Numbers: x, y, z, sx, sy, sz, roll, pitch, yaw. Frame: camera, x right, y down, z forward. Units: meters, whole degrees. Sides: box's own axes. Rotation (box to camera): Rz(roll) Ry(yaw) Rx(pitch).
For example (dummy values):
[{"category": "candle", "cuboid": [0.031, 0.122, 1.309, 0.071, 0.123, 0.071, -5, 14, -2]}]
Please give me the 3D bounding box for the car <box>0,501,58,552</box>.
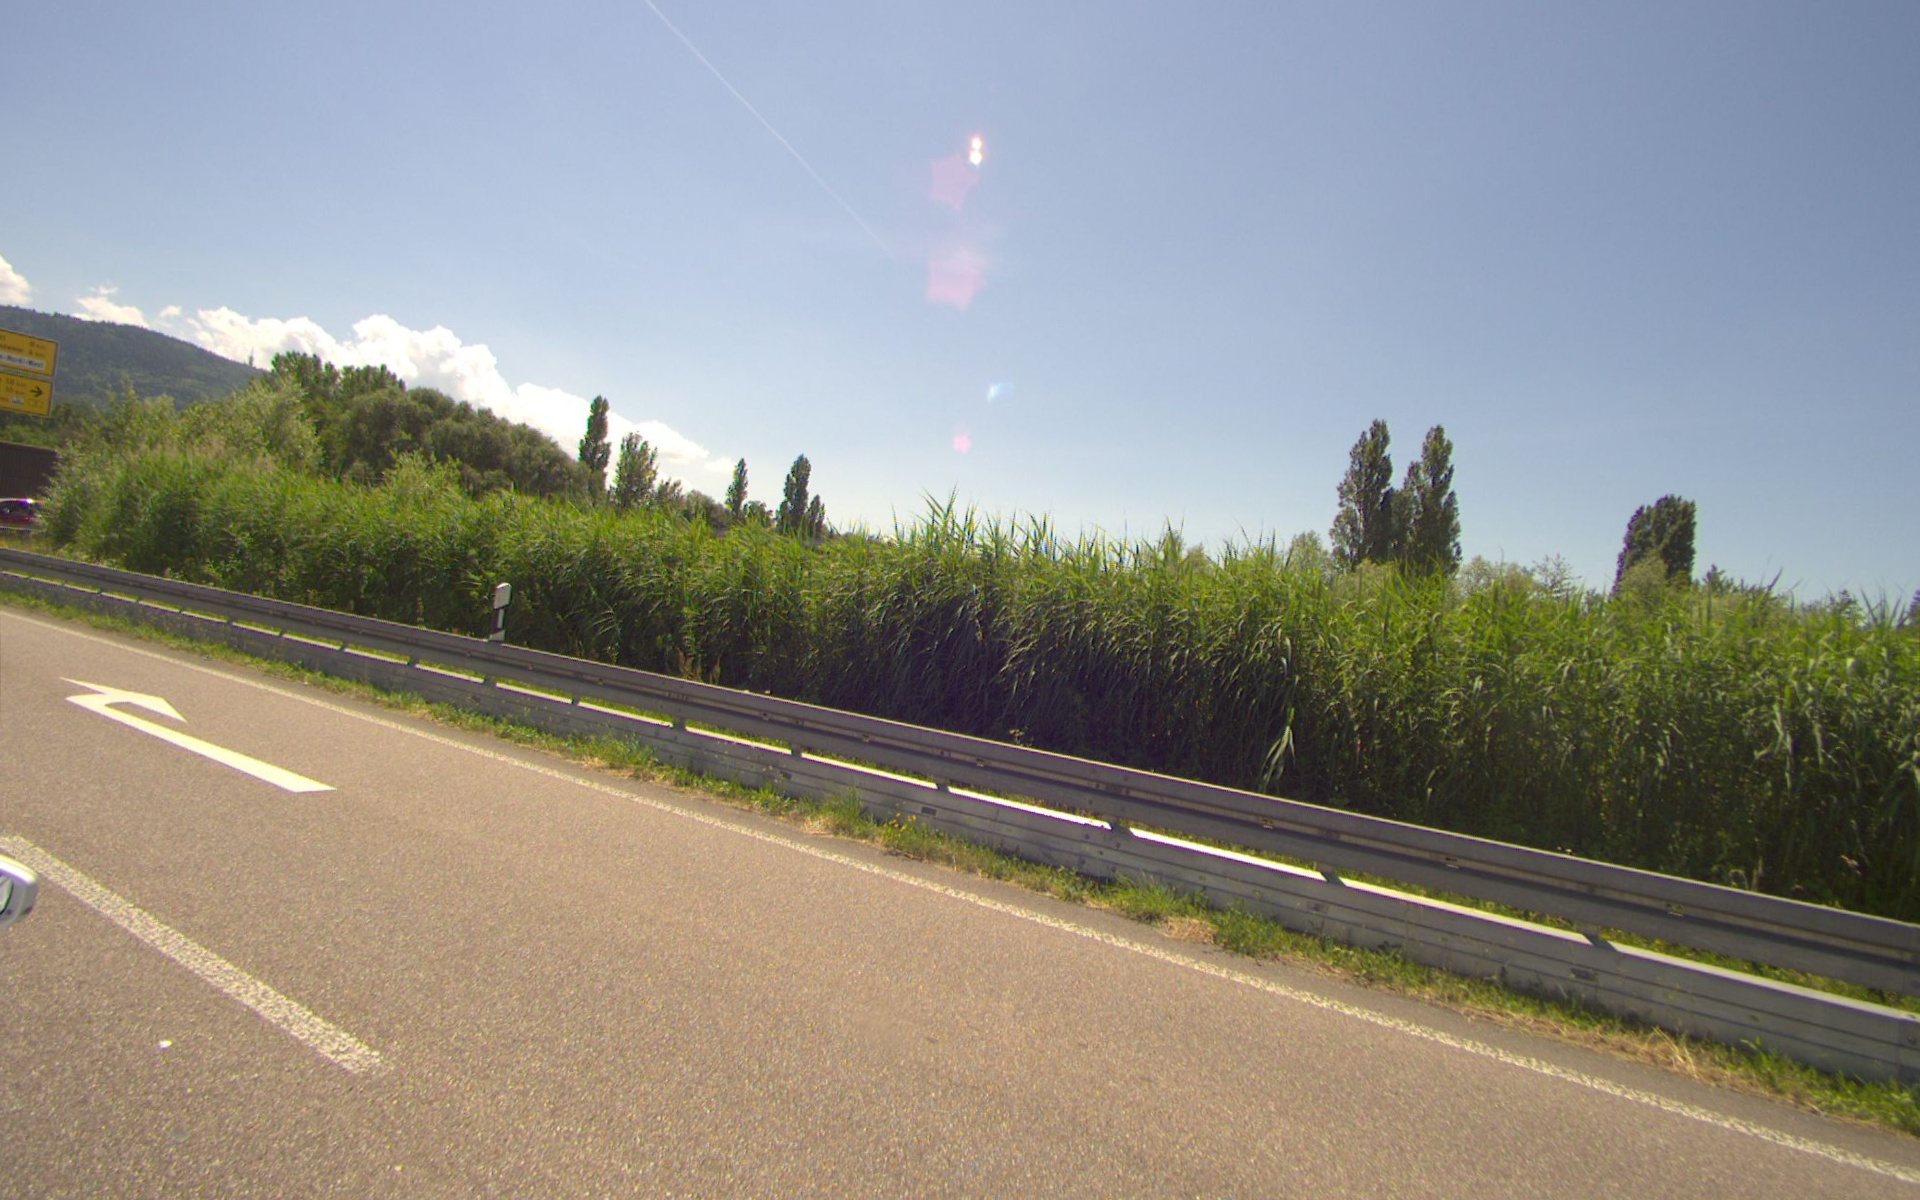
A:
[{"category": "car", "cuboid": [-36.348, -2.950, 36.903, 1.966, 1.676, 4.320, 7, -2, 28]}]
